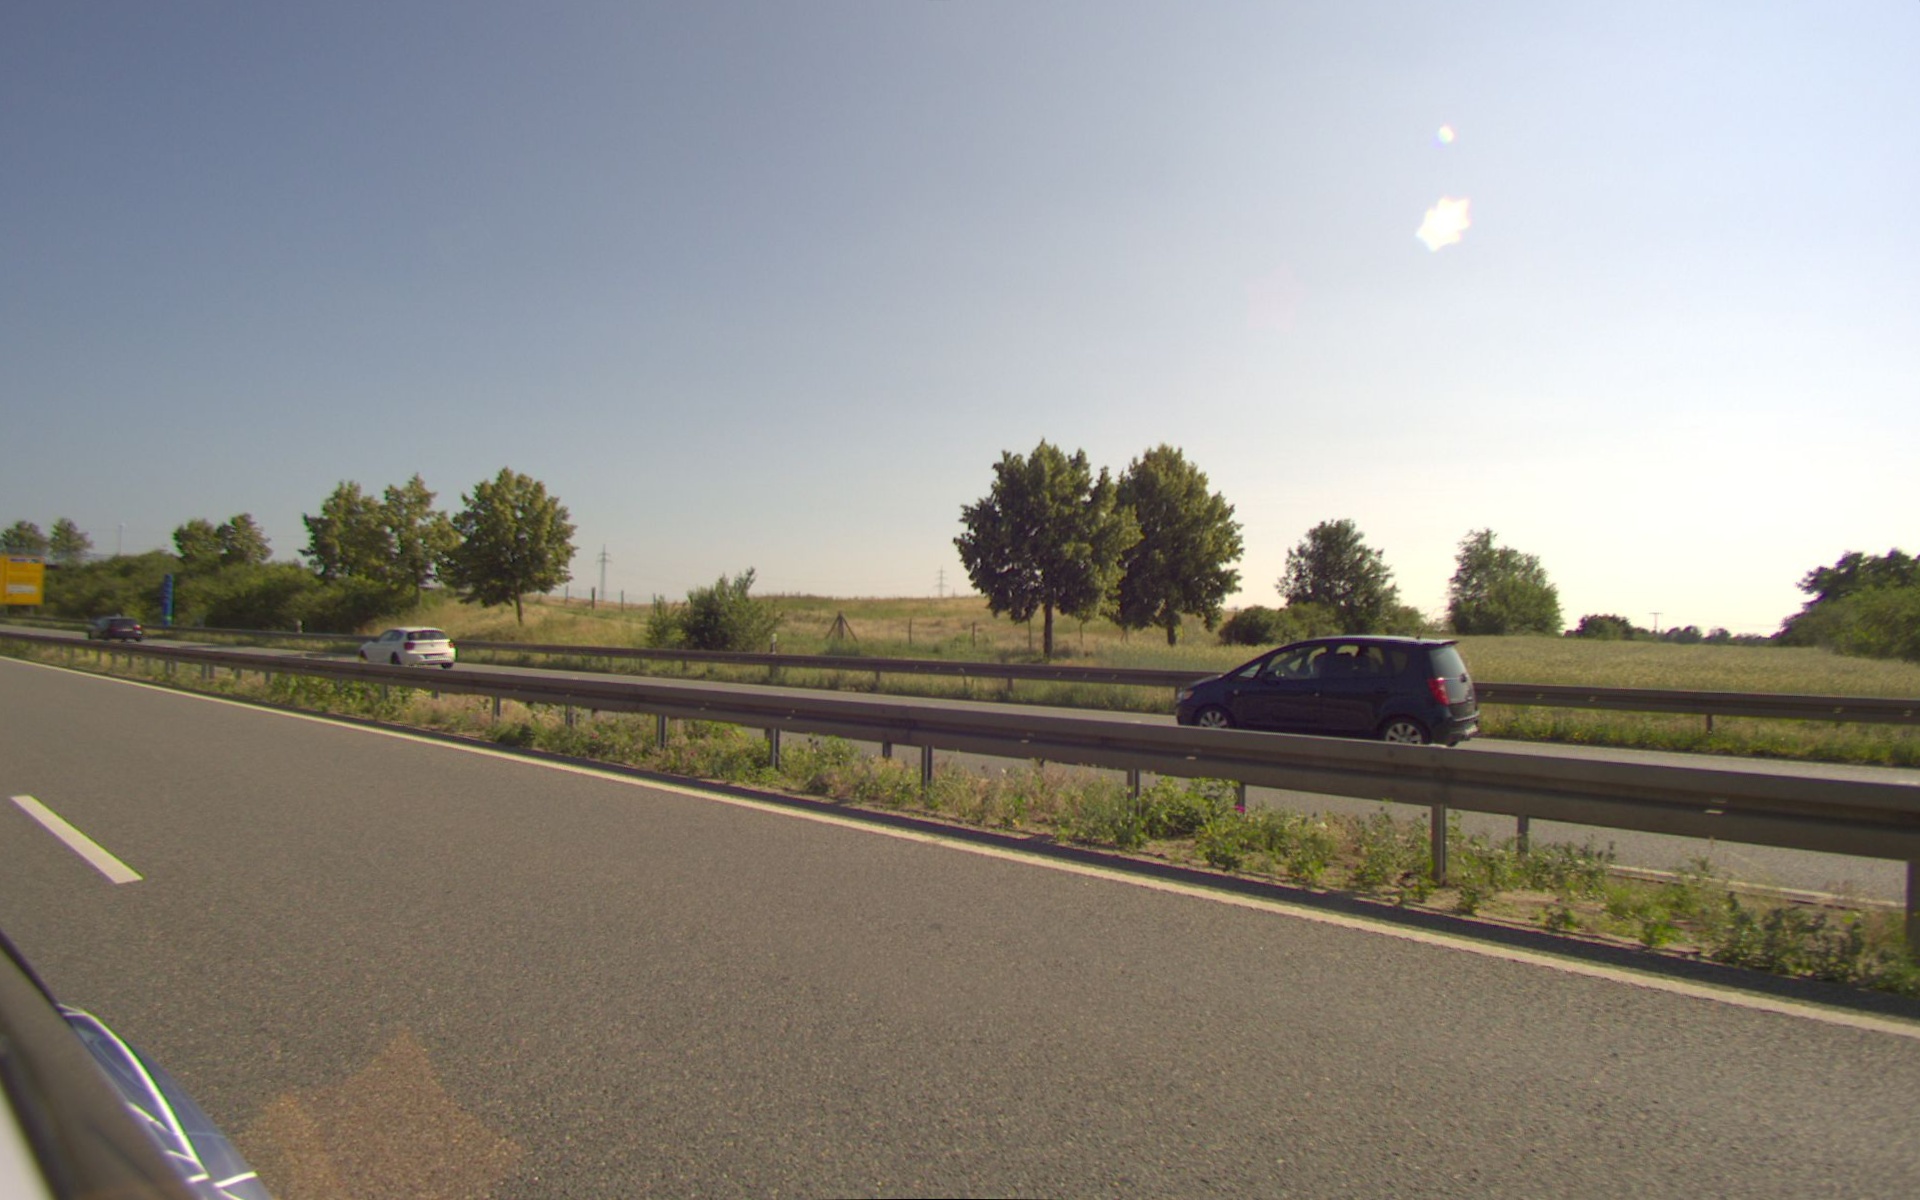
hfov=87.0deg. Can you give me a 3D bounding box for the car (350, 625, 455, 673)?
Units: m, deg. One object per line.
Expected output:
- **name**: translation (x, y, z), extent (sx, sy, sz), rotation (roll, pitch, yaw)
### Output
- **car**: translation (-18.621, 1.586, 33.735), extent (4.345, 1.443, 1.651), rotation (-1, 0, 41)

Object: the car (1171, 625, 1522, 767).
- **car**: translation (5.012, 1.132, 13.399), extent (3.997, 1.545, 1.736), rotation (-1, 0, 40)

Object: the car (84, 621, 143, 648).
- **car**: translation (-48.159, 1.926, 57.568), extent (4.319, 1.411, 1.853), rotation (-1, 0, 40)
